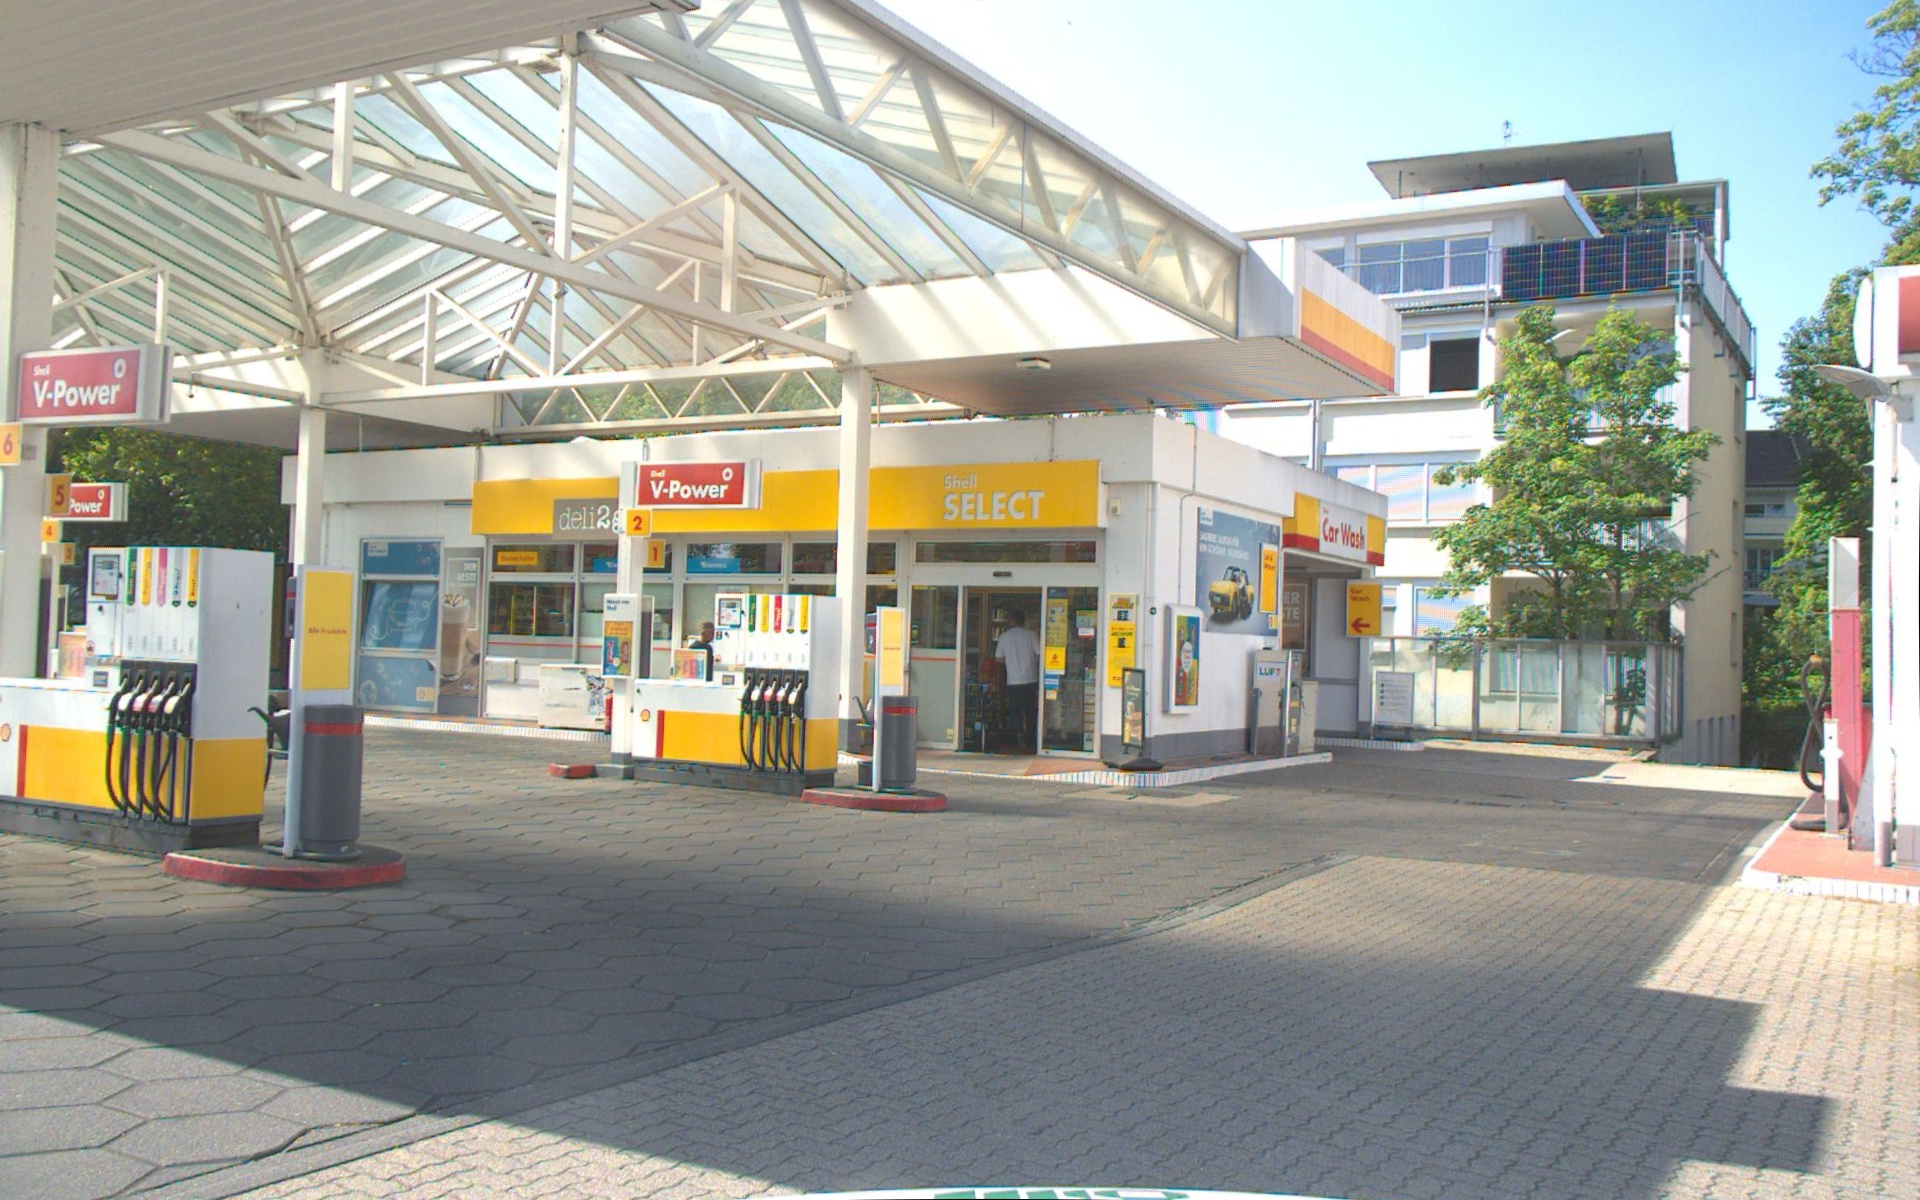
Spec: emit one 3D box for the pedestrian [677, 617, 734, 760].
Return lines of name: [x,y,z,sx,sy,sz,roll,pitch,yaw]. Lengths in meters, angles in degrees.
pedestrian: [-3.258,1.130,21.198,0.517,1.793,0.574,2,-2,7]

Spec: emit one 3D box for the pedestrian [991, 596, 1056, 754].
pedestrian: [0.849,0.996,22.020,0.608,2.049,0.742,1,-2,22]
